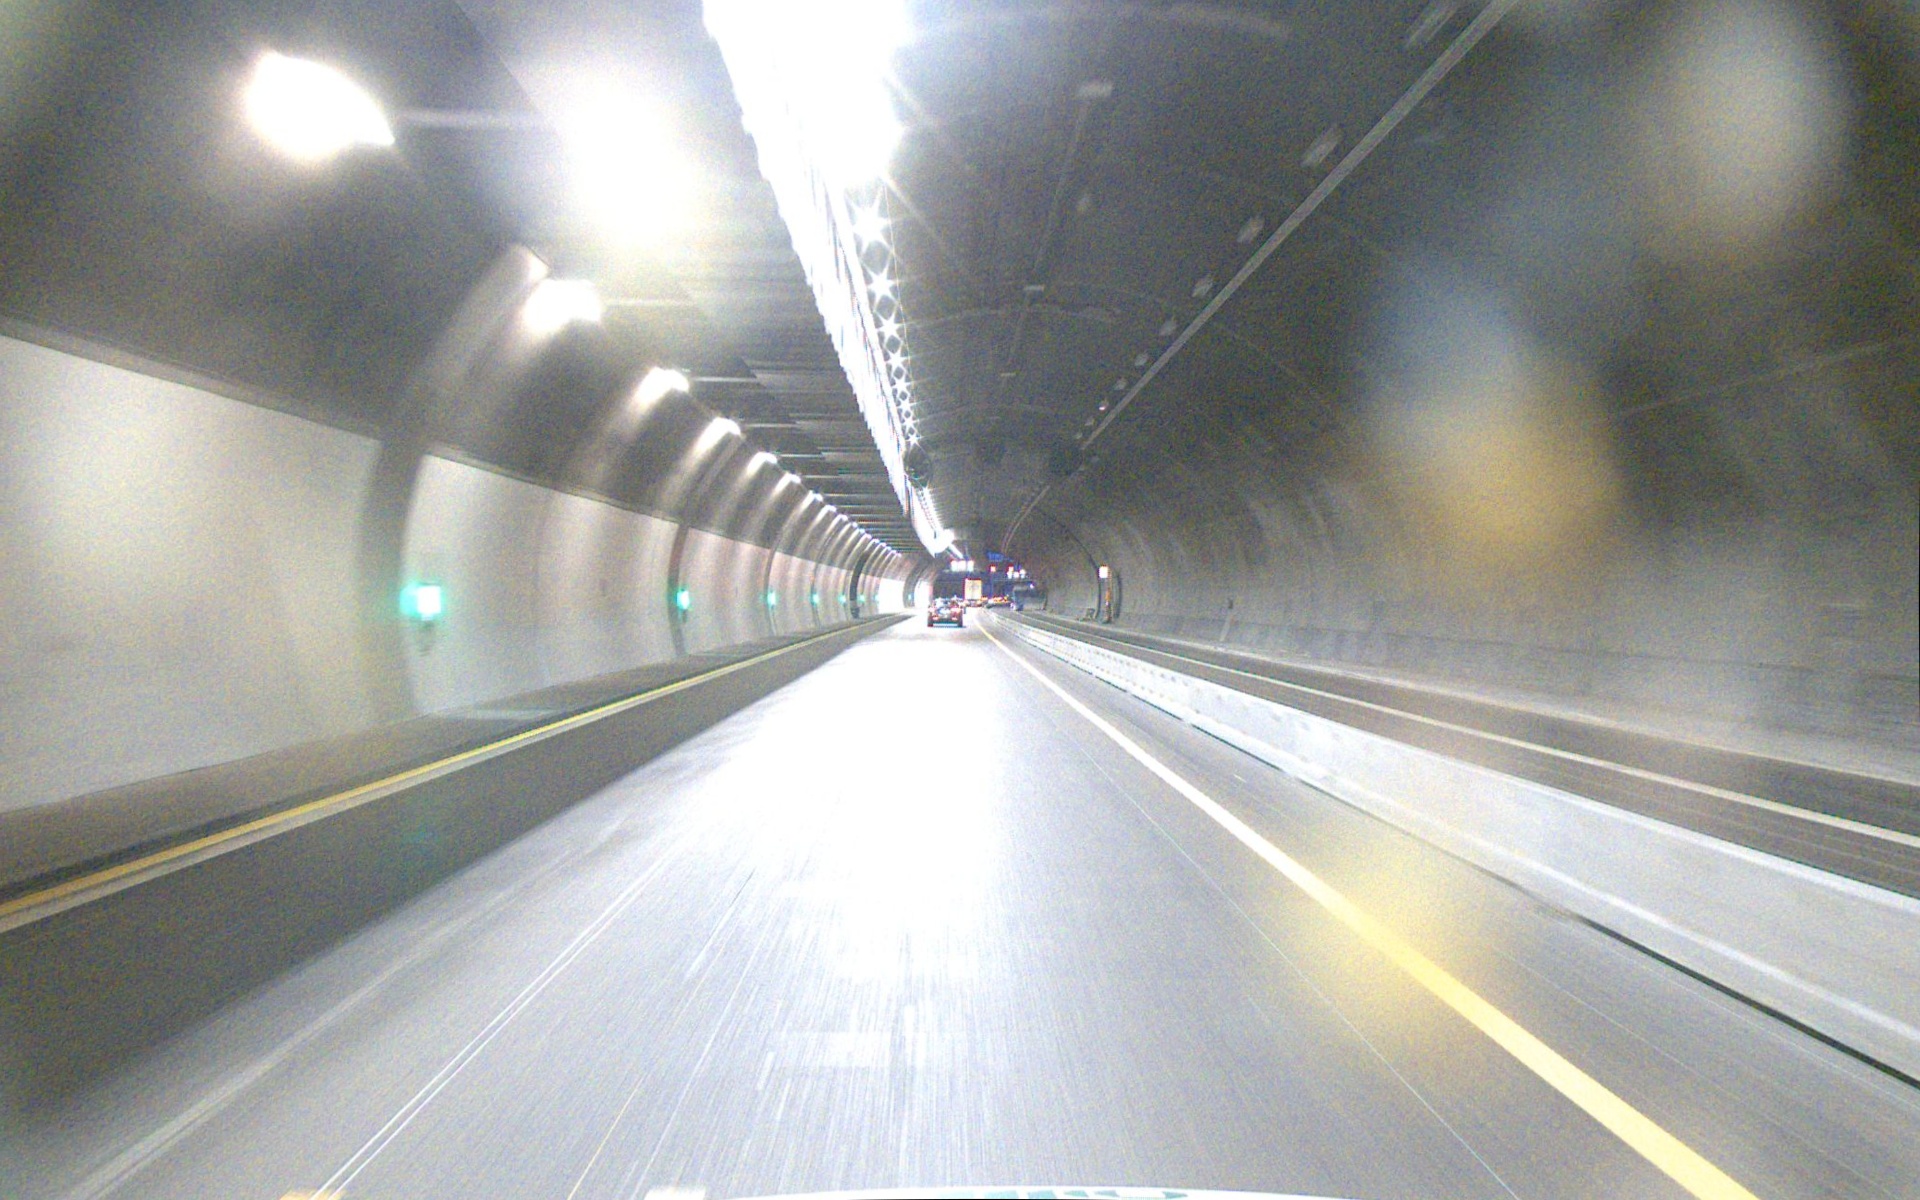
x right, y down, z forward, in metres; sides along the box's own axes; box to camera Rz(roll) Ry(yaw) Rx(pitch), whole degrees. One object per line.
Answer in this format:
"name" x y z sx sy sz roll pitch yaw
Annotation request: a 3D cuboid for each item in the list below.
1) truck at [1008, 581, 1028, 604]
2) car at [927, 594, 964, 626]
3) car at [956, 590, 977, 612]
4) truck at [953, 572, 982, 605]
"truck" 8.522 -1.057 244.578 2.832 3.329 8.402 0 0 1
"car" -0.770 0.535 87.107 1.849 1.635 3.999 0 0 -2
"car" 0.592 0.058 155.768 1.953 2.049 3.999 0 0 -1
"truck" 1.238 -1.740 260.403 4.452 5.074 9.600 0 0 1
